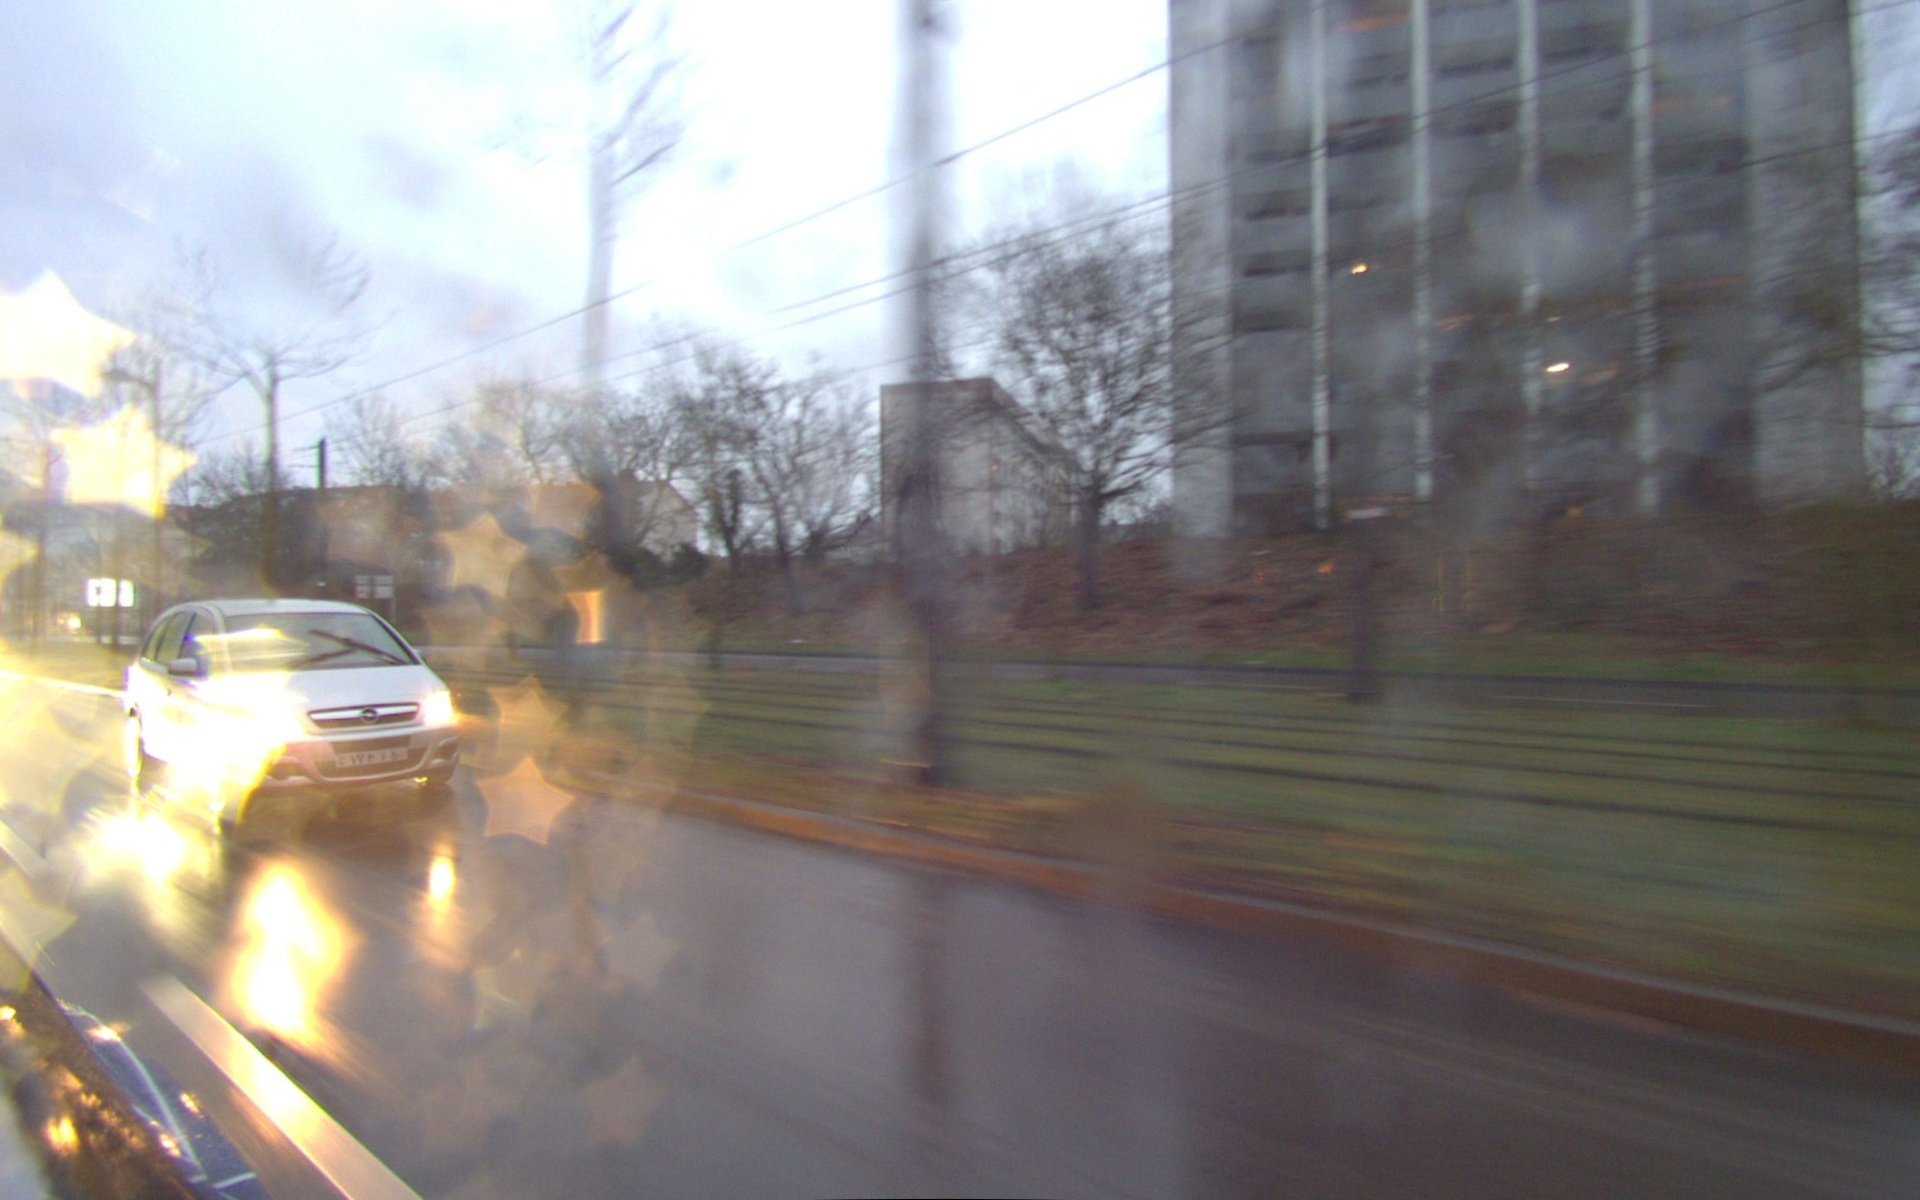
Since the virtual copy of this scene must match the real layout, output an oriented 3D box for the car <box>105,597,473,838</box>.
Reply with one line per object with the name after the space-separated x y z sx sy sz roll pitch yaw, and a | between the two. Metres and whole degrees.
-5.875 0.817 8.676 3.921 1.587 1.648 -1 0 41 | car
